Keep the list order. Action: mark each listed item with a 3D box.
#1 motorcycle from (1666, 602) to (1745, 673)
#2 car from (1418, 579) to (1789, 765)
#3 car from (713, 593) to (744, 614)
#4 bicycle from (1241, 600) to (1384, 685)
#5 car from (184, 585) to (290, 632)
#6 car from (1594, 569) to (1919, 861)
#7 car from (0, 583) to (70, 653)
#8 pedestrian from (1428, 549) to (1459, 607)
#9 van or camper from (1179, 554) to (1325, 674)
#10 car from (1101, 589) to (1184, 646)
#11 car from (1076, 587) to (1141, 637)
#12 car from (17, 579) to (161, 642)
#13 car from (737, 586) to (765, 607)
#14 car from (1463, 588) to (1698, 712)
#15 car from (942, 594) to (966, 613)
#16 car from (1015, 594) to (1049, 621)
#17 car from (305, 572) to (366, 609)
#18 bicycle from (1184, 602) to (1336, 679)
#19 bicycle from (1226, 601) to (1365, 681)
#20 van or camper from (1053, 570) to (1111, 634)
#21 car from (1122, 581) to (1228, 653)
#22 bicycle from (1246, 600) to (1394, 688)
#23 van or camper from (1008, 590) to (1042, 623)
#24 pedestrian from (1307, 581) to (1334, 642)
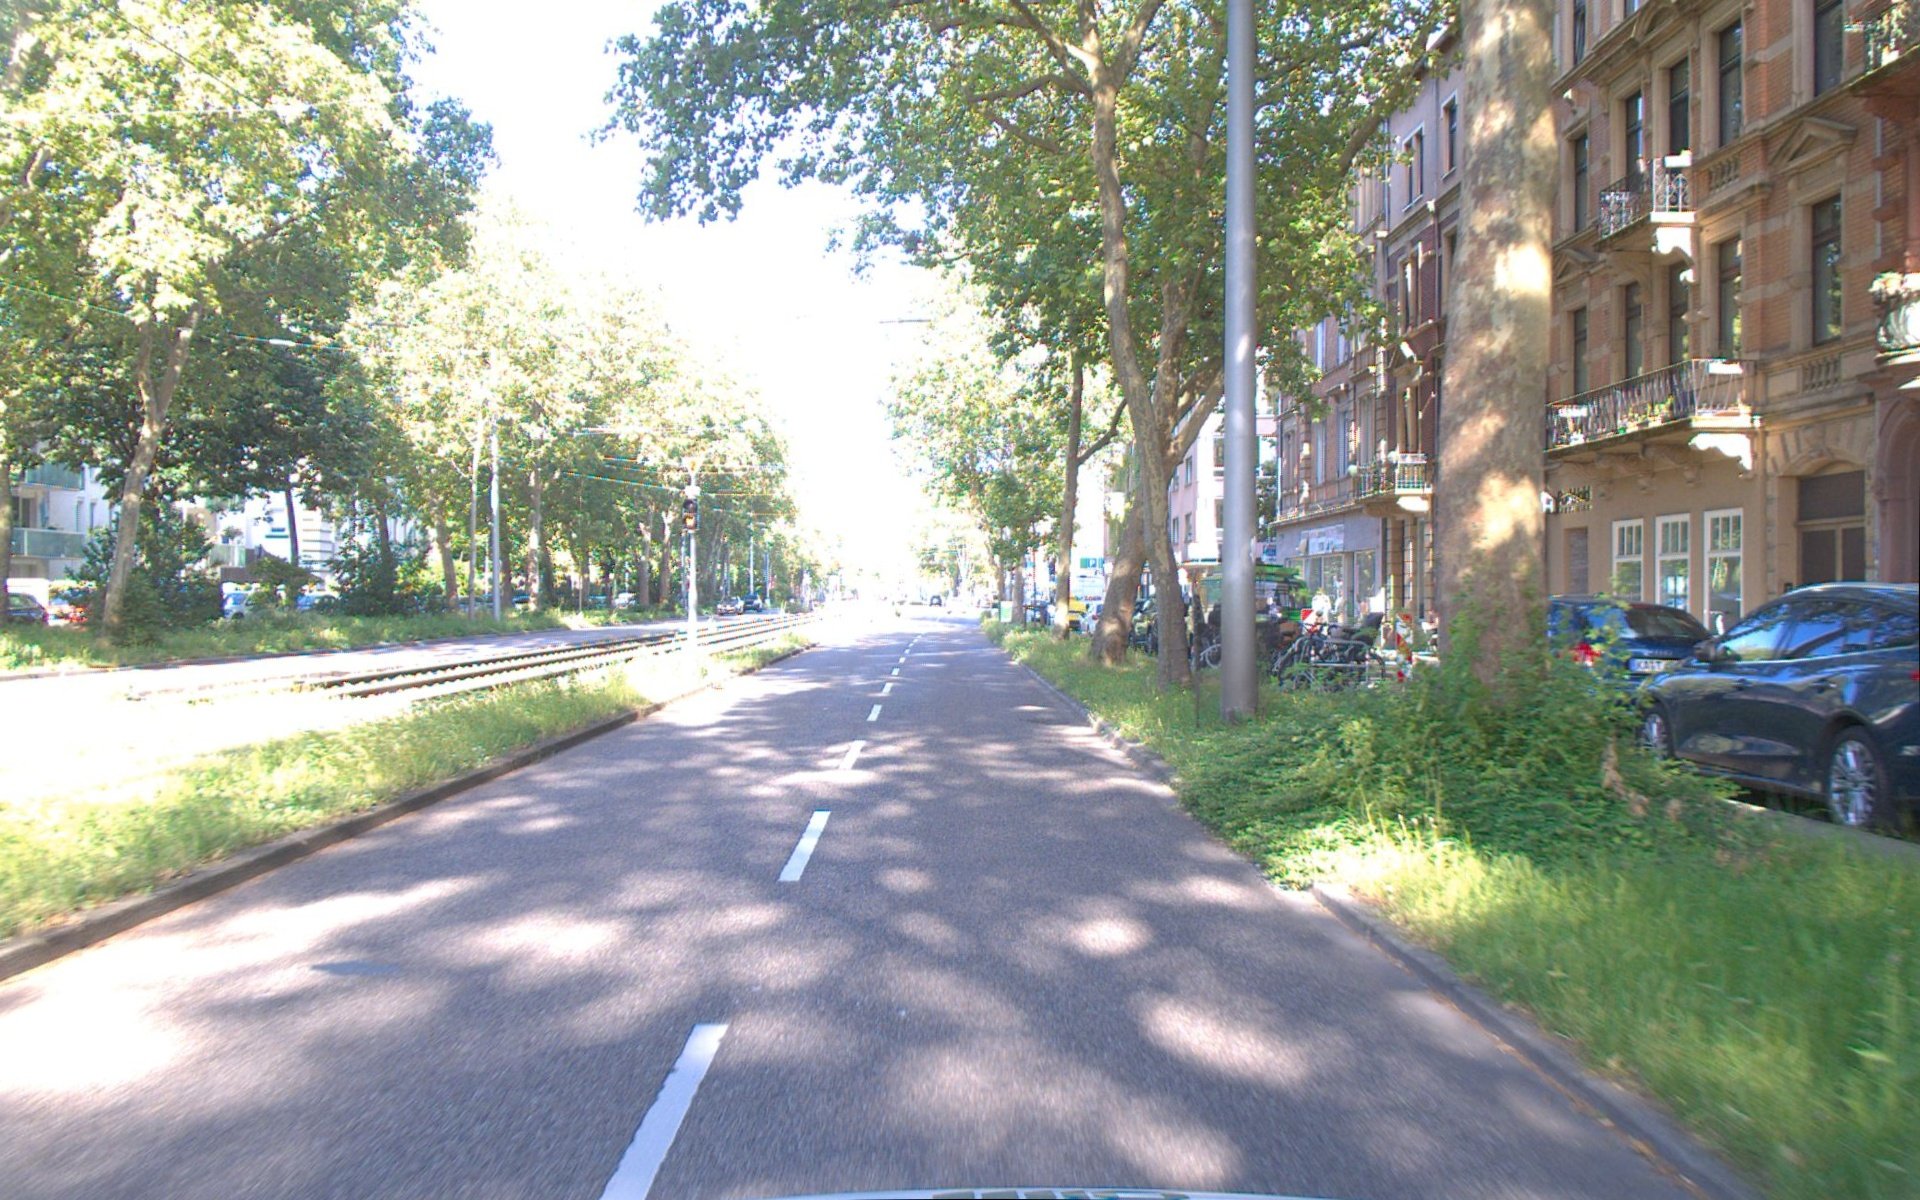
[{"bbox_3d":[12.431,0.605,27.595,0.495,1.144,1.288,0,0,-16],"label":"motorcycle"},{"bbox_3d":[5.876,0.594,15.701,1.796,1.432,4.191,3,0,-1],"label":"car"},{"bbox_3d":[-18.130,0.235,129.508,1.759,1.534,4.338,-3,0,0],"label":"car"},{"bbox_3d":[5.776,0.688,27.174,2.120,1.317,0.983,1,0,-1],"label":"bicycle"},{"bbox_3d":[-27.266,0.311,62.572,1.987,1.626,5.084,-2,0,-4],"label":"car"},{"bbox_3d":[5.890,0.565,10.906,1.660,1.533,4.582,0,1,0],"label":"car"},{"bbox_3d":[-26.530,0.460,45.160,2.067,1.840,4.736,0,0,-3],"label":"car"},{"bbox_3d":[12.493,-0.563,42.717,0.585,1.502,0.767,0,0,0],"label":"pedestrian"},{"bbox_3d":[5.748,0.259,33.147,1.797,2.134,4.772,3,0,-3],"label":"van or camper"},{"bbox_3d":[5.224,0.491,47.844,1.702,1.489,4.363,3,0,-2],"label":"car"},{"bbox_3d":[5.111,0.412,57.531,1.718,1.599,4.183,3,0,-1],"label":"car"},{"bbox_3d":[-26.723,0.290,50.953,2.066,1.840,4.736,0,0,-2],"label":"car"},{"bbox_3d":[-19.643,-0.348,155.773,1.953,1.903,4.872,-2,0,0],"label":"car"},{"bbox_3d":[8.797,0.650,23.838,1.718,1.606,4.183,-1,0,-2],"label":"car"},{"bbox_3d":[-0.563,0.294,143.623,1.980,1.691,3.999,0,0,-1],"label":"car"},{"bbox_3d":[4.284,0.435,98.459,1.649,1.540,3.665,1,0,-3],"label":"car"},{"bbox_3d":[-36.014,-0.555,95.444,1.953,2.049,4.000,0,0,0],"label":"car"},{"bbox_3d":[5.394,0.717,29.829,2.501,1.317,0.973,1,0,-8],"label":"bicycle"},{"bbox_3d":[5.759,0.700,28.461,2.125,1.317,0.980,1,0,-12],"label":"bicycle"},{"bbox_3d":[5.164,0.082,70.824,2.139,2.523,6.269,2,0,2],"label":"van or camper"},{"bbox_3d":[5.479,0.414,42.661,1.853,1.676,4.798,3,0,-2],"label":"car"},{"bbox_3d":[5.642,0.682,26.021,2.119,1.317,0.983,1,0,1],"label":"bicycle"},{"bbox_3d":[4.057,0.401,103.784,1.802,1.997,5.125,1,0,-1],"label":"van or camper"},{"bbox_3d":[10.923,0.347,50.150,0.688,1.854,0.611,0,0,-1],"label":"pedestrian"}]
